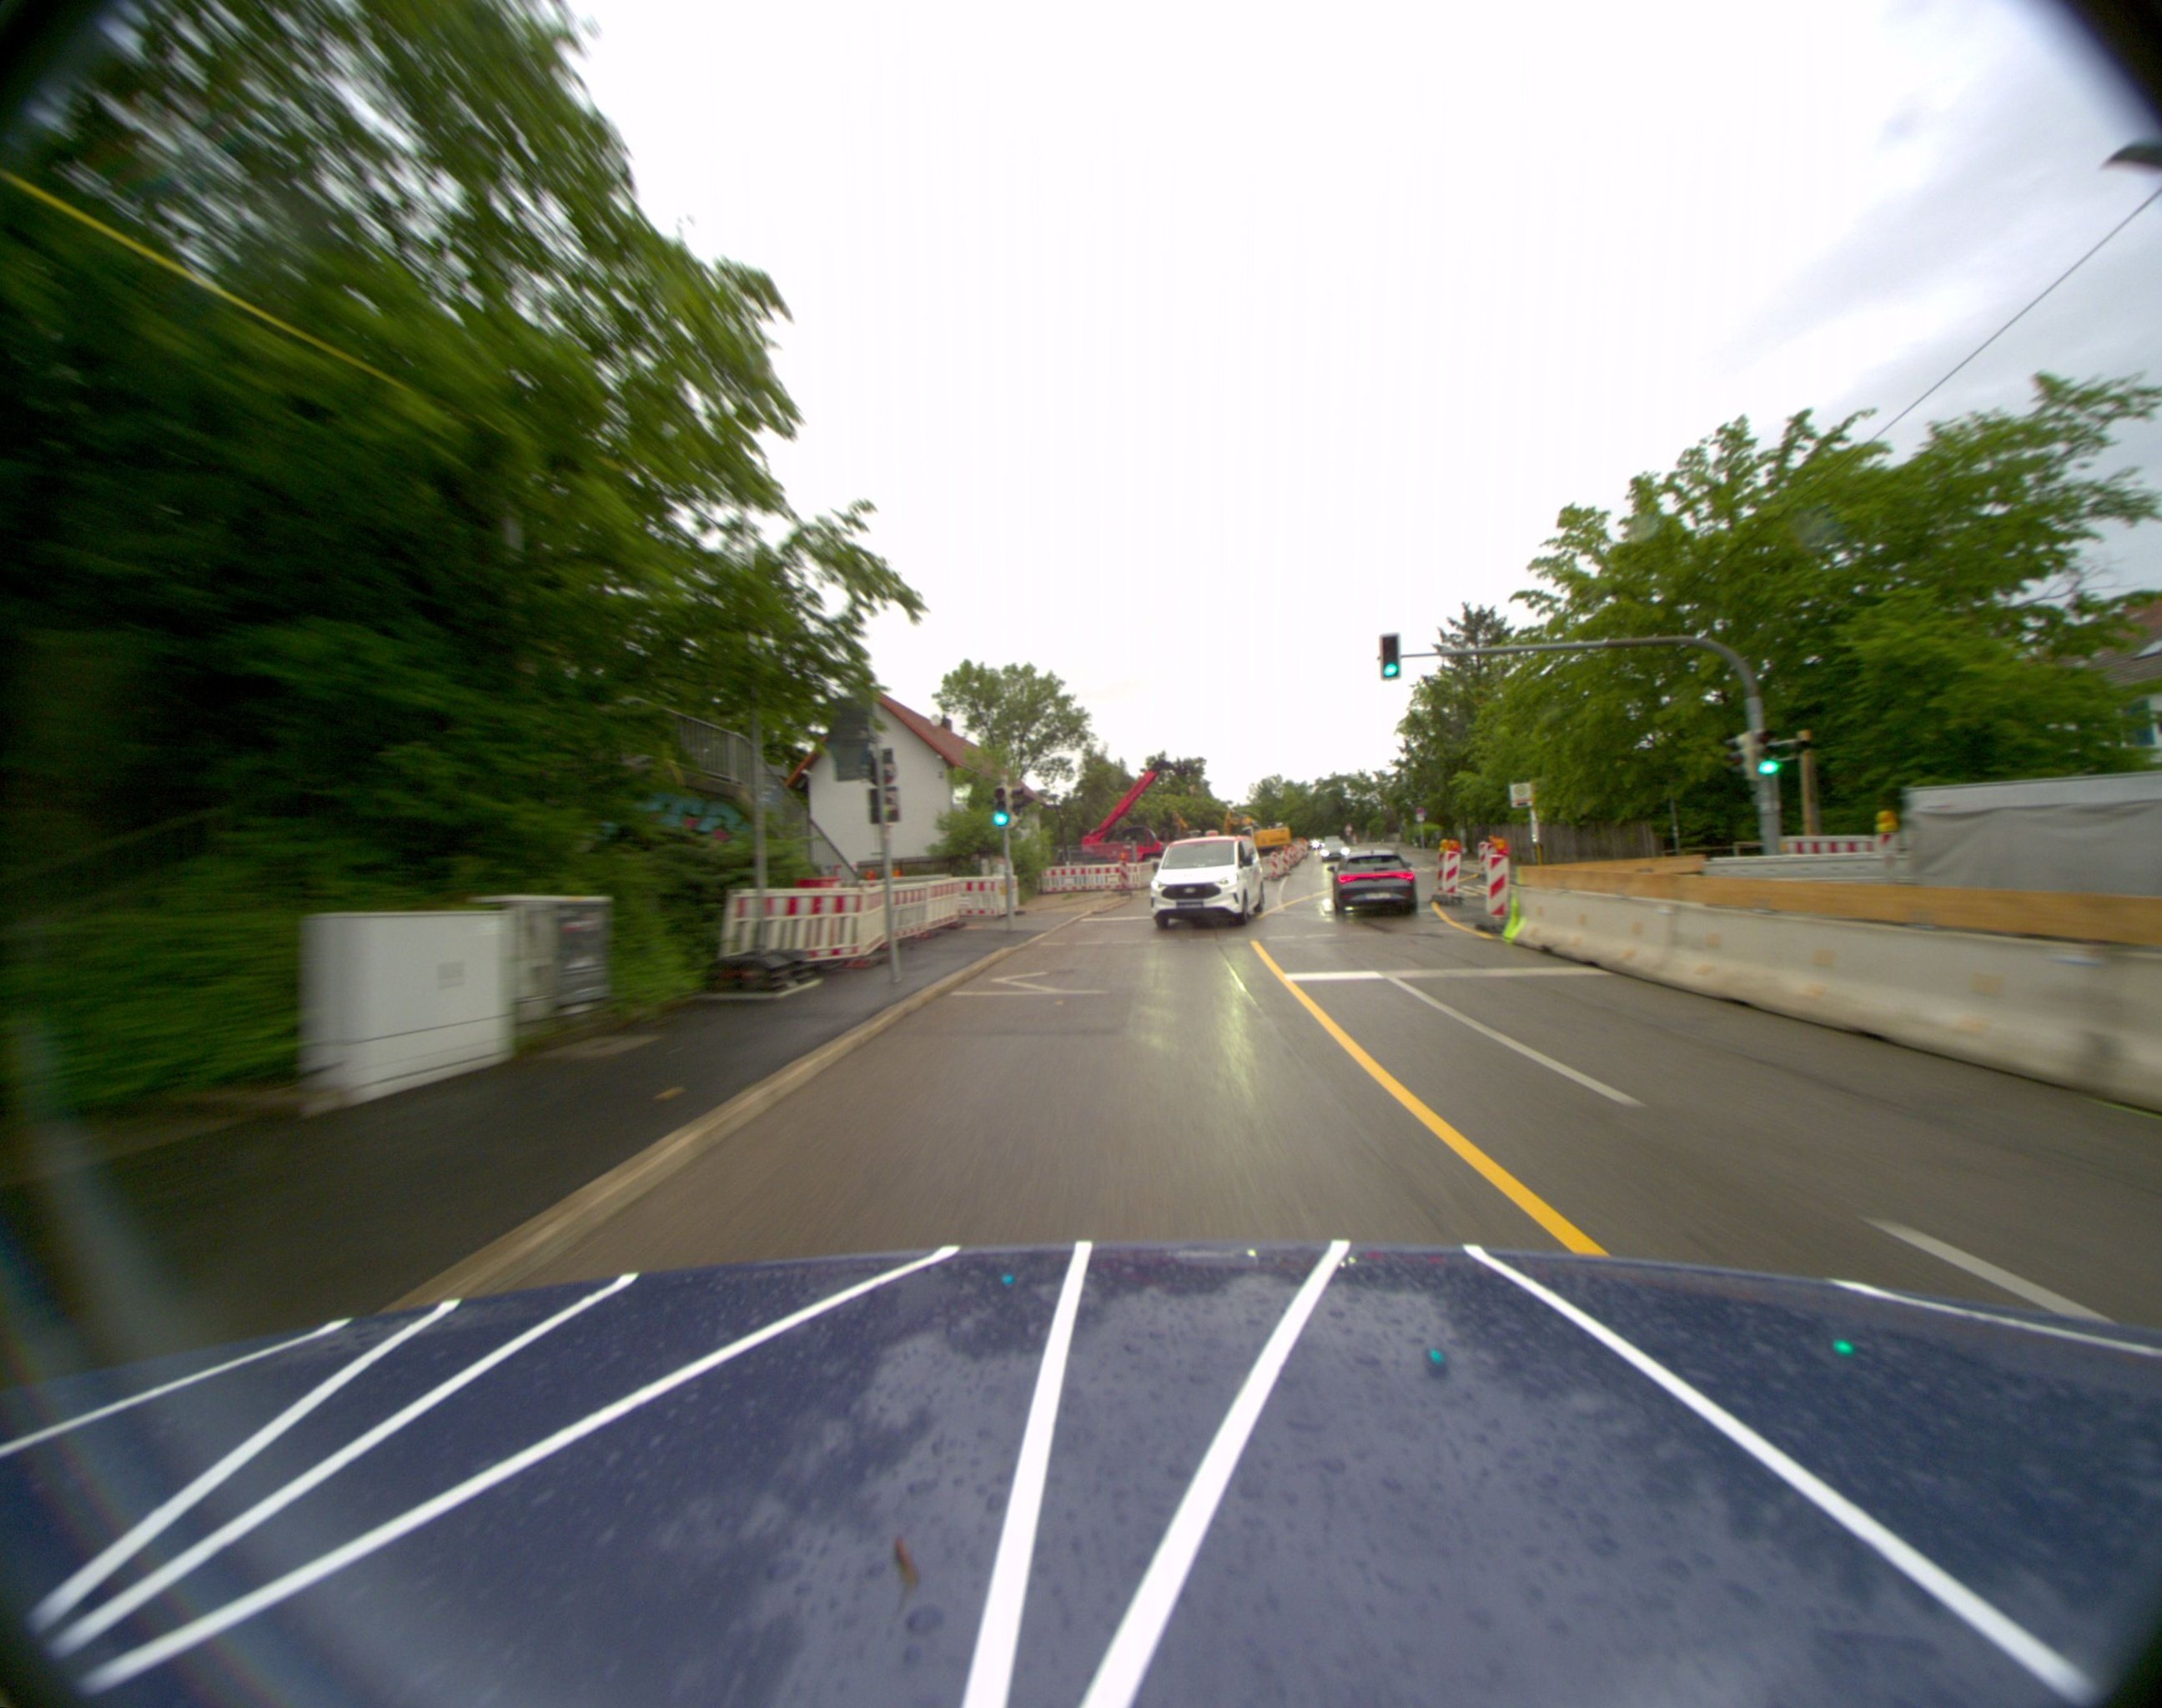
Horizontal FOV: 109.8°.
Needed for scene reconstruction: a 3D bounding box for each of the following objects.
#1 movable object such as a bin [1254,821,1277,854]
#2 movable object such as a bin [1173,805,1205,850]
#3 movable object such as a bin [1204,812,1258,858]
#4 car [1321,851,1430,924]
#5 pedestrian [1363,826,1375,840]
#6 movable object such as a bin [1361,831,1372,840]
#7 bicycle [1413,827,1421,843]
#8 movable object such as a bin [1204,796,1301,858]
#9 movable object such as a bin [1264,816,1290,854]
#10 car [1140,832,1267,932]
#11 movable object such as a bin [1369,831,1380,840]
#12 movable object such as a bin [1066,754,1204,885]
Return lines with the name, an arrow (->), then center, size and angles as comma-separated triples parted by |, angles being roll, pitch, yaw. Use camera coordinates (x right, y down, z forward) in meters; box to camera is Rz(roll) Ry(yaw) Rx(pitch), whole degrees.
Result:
movable object such as a bin -> 21.655, -1.922, 89.352 | 2.079, 3.205, 5.292 | -5, -5, 10
movable object such as a bin -> 9.921, -2.405, 69.688 | 1.996, 3.866, 4.621 | -5, 0, 16
movable object such as a bin -> 12.240, -1.491, 62.264 | 3.995, 3.182, 2.411 | -5, -5, 8
car -> 6.768, 0.694, 17.904 | 1.786, 1.395, 4.370 | -3, 0, 14
pedestrian -> 36.136, -2.643, 95.487 | 0.926, 1.757, 0.979 | -4, 0, -12
movable object such as a bin -> 37.780, -2.442, 100.453 | 0.989, 1.100, 1.027 | -3, -1, -2
bicycle -> 30.143, -1.725, 68.133 | 0.421, 1.342, 1.744 | -5, 2, 18
movable object such as a bin -> 15.168, -2.347, 68.438 | 3.069, 4.892, 10.800 | -6, 3, -18
movable object such as a bin -> 18.465, -1.798, 71.684 | 1.997, 3.287, 3.837 | -4, 3, 14
car -> 3.036, 0.548, 17.798 | 1.995, 2.002, 4.956 | 0, 0, 20
movable object such as a bin -> 38.834, -2.464, 100.432 | 0.989, 1.099, 1.027 | -3, -2, -2
movable object such as a bin -> 3.157, -1.861, 43.390 | 6.960, 6.651, 3.048 | -4, 1, 14
